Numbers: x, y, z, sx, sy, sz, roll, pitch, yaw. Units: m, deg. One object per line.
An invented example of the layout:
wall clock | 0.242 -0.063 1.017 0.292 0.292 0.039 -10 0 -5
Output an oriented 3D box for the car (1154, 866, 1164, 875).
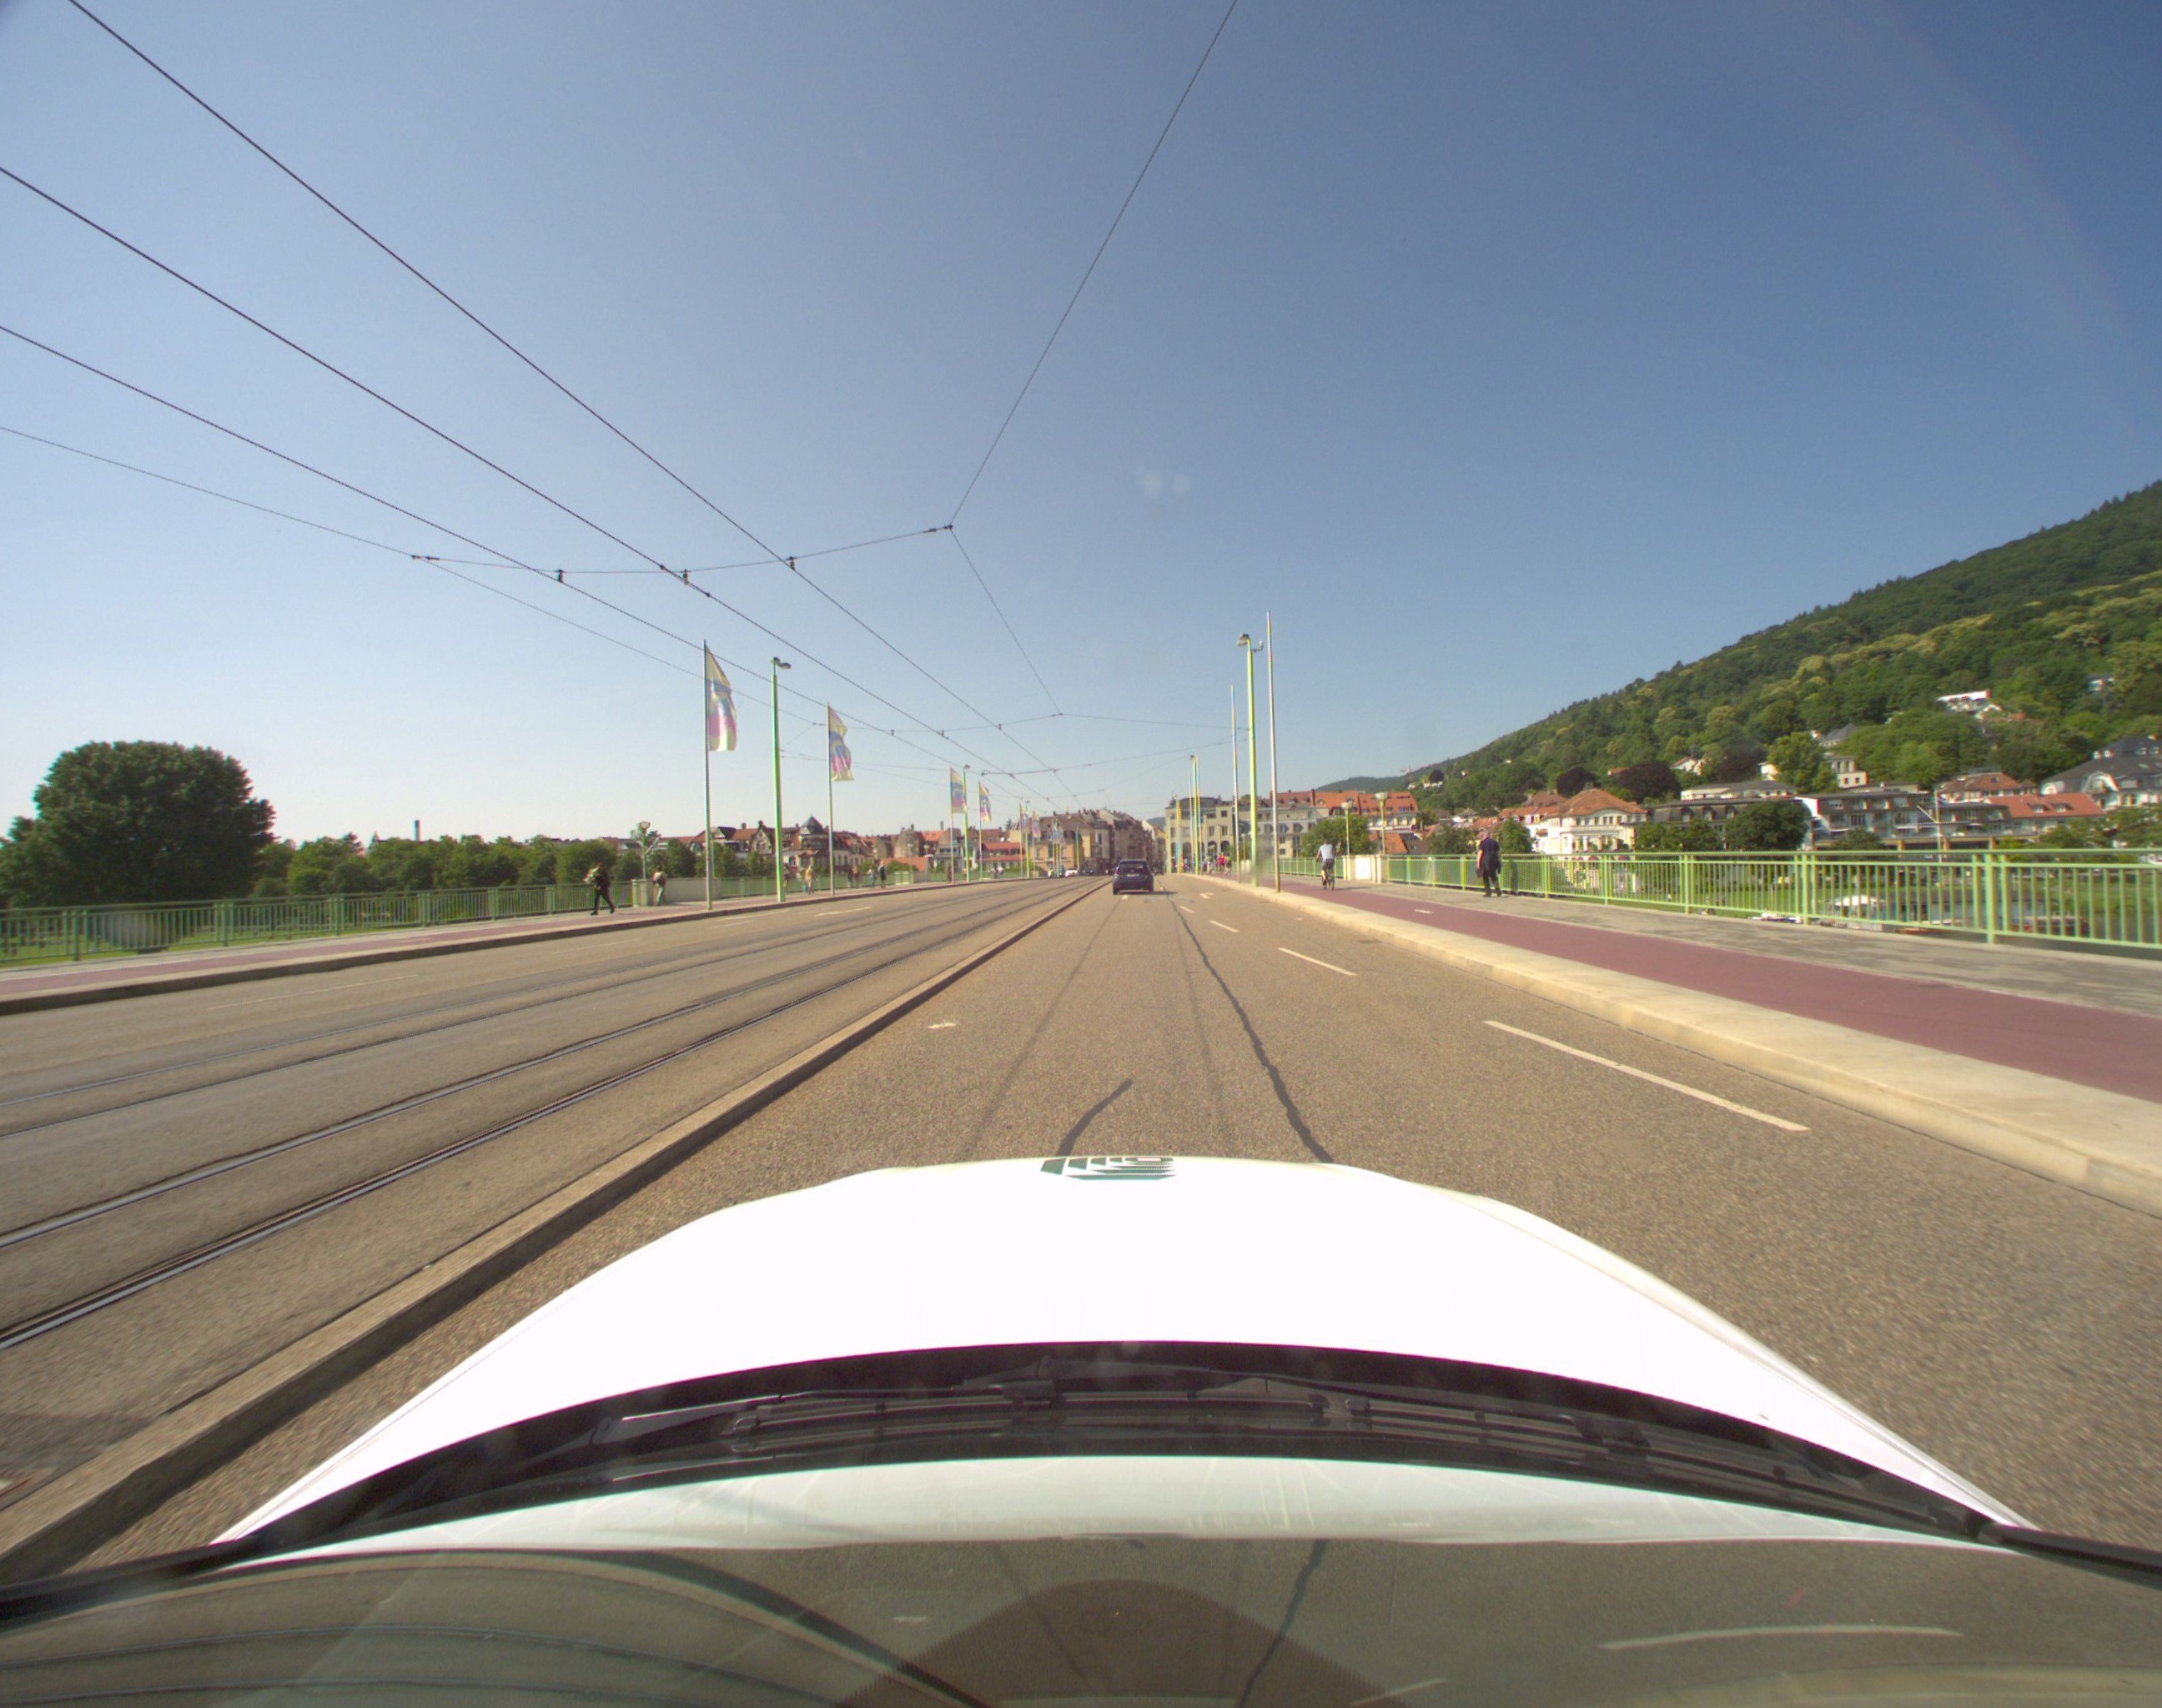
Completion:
car | 15.316 3.236 159.544 1.794 1.469 4.007 -4 -1 7

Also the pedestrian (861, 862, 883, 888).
pedestrian | -14.609 1.474 56.904 1.093 1.729 1.296 -2 0 2

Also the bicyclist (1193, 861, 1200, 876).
bicyclist | 13.015 1.624 91.843 0.653 1.676 0.870 -2 -1 4

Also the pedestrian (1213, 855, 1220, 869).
pedestrian | 16.079 0.937 96.650 0.596 1.586 0.867 -2 -1 2

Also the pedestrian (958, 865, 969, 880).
pedestrian | -13.195 2.061 91.287 0.894 1.658 1.030 -2 -1 6

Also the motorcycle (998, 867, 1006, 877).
motorcycle | -9.657 2.190 99.629 0.698 1.110 2.181 -2 -1 4

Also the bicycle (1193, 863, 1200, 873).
bicycle | 12.988 1.586 91.864 0.591 1.178 1.941 -2 -1 3

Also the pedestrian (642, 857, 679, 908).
pedestrian | -17.178 1.145 33.274 0.895 2.013 1.042 -2 0 2

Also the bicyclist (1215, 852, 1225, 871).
bicyclist | 12.498 0.673 73.217 0.732 1.635 0.867 -2 -1 2

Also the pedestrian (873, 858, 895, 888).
pedestrian | -13.783 1.311 57.003 1.093 2.013 1.296 -2 0 2

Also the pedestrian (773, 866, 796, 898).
pedestrian | -16.307 1.513 44.808 0.751 1.722 1.176 -1 -1 2

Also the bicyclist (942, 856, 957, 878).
bicyclist | -12.018 1.169 74.220 1.093 1.961 1.129 -2 0 2

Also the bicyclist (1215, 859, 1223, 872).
bicyclist | 11.992 1.023 70.762 0.595 1.101 0.855 -2 -1 14

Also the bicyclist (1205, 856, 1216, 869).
bicyclist | 10.602 0.695 66.807 0.732 1.030 1.176 -2 -1 2

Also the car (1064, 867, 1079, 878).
car | -1.375 2.628 117.526 1.989 1.409 4.542 -3 0 -3

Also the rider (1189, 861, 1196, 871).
rider | 17.462 1.849 127.417 0.885 1.505 0.841 -2 -1 3

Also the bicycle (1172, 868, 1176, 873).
bicycle | 16.478 2.923 144.135 0.649 0.981 2.182 -4 -2 7

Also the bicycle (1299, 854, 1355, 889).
bicycle | 8.572 0.584 28.543 0.790 1.096 3.744 -3 0 0

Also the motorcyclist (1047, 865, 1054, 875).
motorcyclist | -4.553 2.417 122.129 0.824 1.574 0.833 -2 -1 3

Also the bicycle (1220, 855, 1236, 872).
bicycle | 10.544 0.713 58.354 0.693 1.193 2.078 -2 -1 -1

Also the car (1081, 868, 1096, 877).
car | 1.439 3.521 154.594 1.980 1.599 4.351 -2 -1 11

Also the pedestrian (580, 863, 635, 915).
pedestrian | -16.543 1.205 28.502 1.093 1.758 1.296 -2 0 2

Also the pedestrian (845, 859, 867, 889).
pedestrian | -15.572 1.342 56.413 1.093 2.013 1.129 -2 0 2

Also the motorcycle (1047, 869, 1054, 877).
motorcycle | -4.542 2.854 122.077 0.698 1.110 2.181 -2 -1 4

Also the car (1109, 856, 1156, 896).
car | 2.194 0.909 35.450 1.903 1.540 4.002 -2 0 2

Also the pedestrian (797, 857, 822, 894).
pedestrian | -15.124 1.198 45.365 0.966 2.013 1.101 -2 0 -1

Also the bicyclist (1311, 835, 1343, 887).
bicyclist | 8.554 0.246 28.362 0.671 1.744 1.150 -2 -1 0

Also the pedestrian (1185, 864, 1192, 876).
pedestrian | 15.620 2.263 118.271 0.830 1.689 0.870 -2 -1 4

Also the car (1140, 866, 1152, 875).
car | 11.322 2.826 141.032 1.797 1.469 4.001 -3 -1 2

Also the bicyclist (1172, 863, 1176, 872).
bicyclist | 16.462 2.471 144.213 0.649 1.567 1.340 -4 -2 7

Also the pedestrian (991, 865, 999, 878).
pedestrian | -11.660 2.392 110.154 0.826 1.722 1.095 -2 -1 4

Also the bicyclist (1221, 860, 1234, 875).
bicyclist | 10.536 0.956 58.503 0.664 1.045 0.980 -2 -1 -2

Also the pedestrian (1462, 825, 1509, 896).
pedestrian | 10.237 0.152 20.645 0.653 1.743 0.978 -2 1 -1

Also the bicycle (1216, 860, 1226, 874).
bicycle | 12.576 1.153 73.100 0.616 1.271 2.217 -2 -1 3

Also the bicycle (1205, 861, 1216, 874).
bicycle | 10.619 1.127 66.740 0.616 1.037 2.052 -2 -1 3

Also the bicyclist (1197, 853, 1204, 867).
bicyclist | 14.357 0.714 97.951 0.625 1.689 0.869 -2 -1 3

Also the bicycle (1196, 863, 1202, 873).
bicycle | 14.239 1.657 98.060 0.523 1.178 2.030 -2 -1 3

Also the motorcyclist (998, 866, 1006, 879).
motorcyclist | -9.631 2.238 99.637 0.797 1.549 1.070 -2 -1 3

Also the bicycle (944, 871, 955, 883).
bicycle | -11.969 2.106 74.078 0.586 1.097 2.113 -2 -2 2
